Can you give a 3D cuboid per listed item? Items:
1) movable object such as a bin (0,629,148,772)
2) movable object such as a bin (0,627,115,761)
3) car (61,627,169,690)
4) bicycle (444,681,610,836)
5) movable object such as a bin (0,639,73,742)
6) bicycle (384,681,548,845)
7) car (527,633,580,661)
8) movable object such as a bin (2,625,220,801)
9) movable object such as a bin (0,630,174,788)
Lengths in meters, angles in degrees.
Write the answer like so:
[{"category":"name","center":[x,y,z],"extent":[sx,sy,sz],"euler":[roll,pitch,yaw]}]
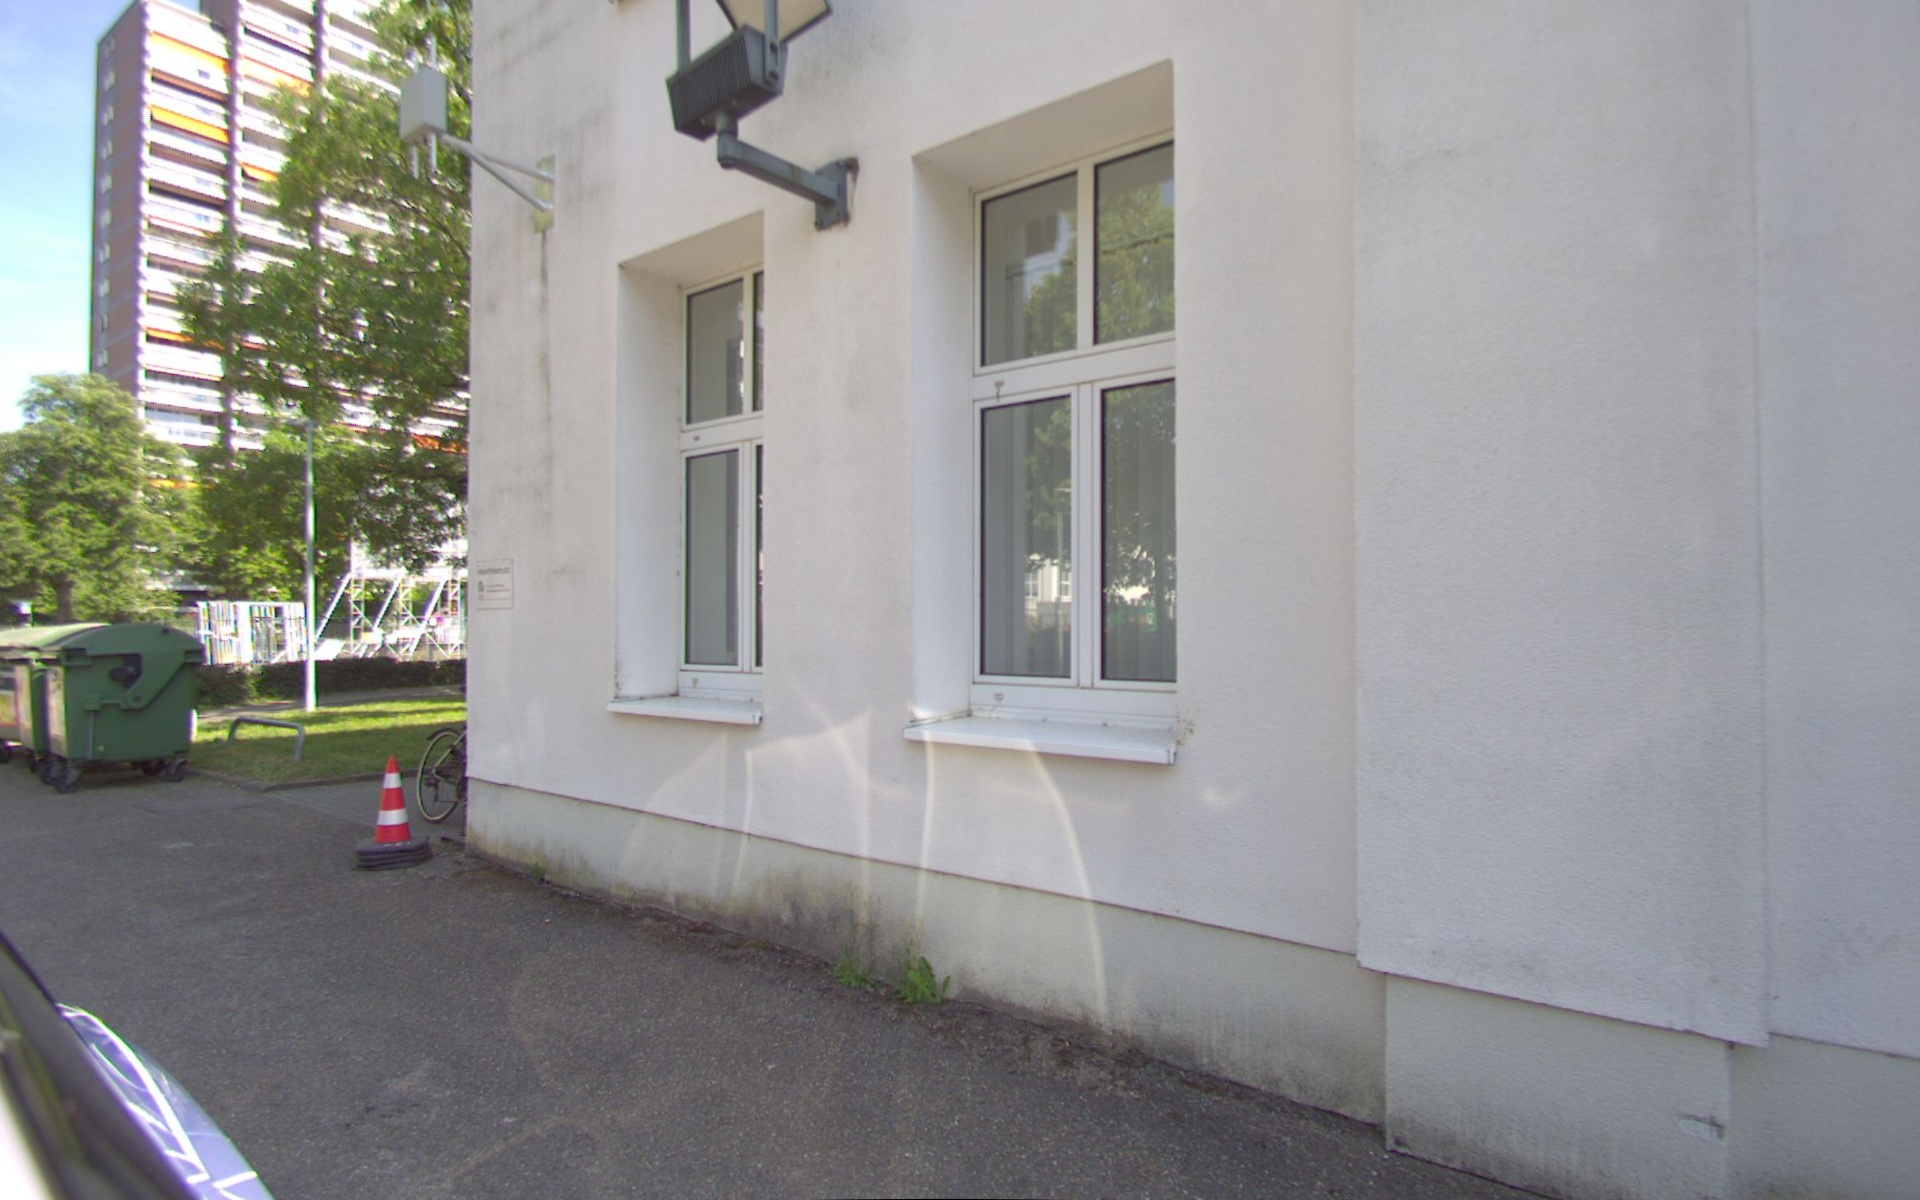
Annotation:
[{"category":"movable object such as a bin","center":[-9.946,1.046,11.087],"extent":[1.217,1.442,1.237],"euler":[-1,-2,27]},{"category":"movable object such as a bin","center":[-11.040,1.069,11.971],"extent":[1.334,1.493,1.235],"euler":[-1,-2,32]},{"category":"car","center":[-26.385,1.766,31.746],"extent":[1.889,1.794,4.325],"euler":[-1,-1,-30]},{"category":"bicycle","center":[-3.239,1.119,7.506],"extent":[1.629,1.000,0.440],"euler":[-3,-4,40]},{"category":"movable object such as a bin","center":[-13.644,1.270,14.485],"extent":[1.227,1.407,1.408],"euler":[1,-2,-35]},{"category":"bicycle","center":[-3.486,1.087,7.089],"extent":[1.540,1.000,0.440],"euler":[-3,-4,40]},{"category":"car","center":[-23.507,2.690,58.444],"extent":[1.813,1.421,4.157],"euler":[-1,0,-36]},{"category":"movable object such as a bin","center":[-7.728,0.954,9.223],"extent":[1.348,1.442,1.233],"euler":[-2,-2,37]},{"category":"movable object such as a bin","center":[-8.893,1.025,10.183],"extent":[1.363,1.442,1.233],"euler":[-2,-2,37]}]
